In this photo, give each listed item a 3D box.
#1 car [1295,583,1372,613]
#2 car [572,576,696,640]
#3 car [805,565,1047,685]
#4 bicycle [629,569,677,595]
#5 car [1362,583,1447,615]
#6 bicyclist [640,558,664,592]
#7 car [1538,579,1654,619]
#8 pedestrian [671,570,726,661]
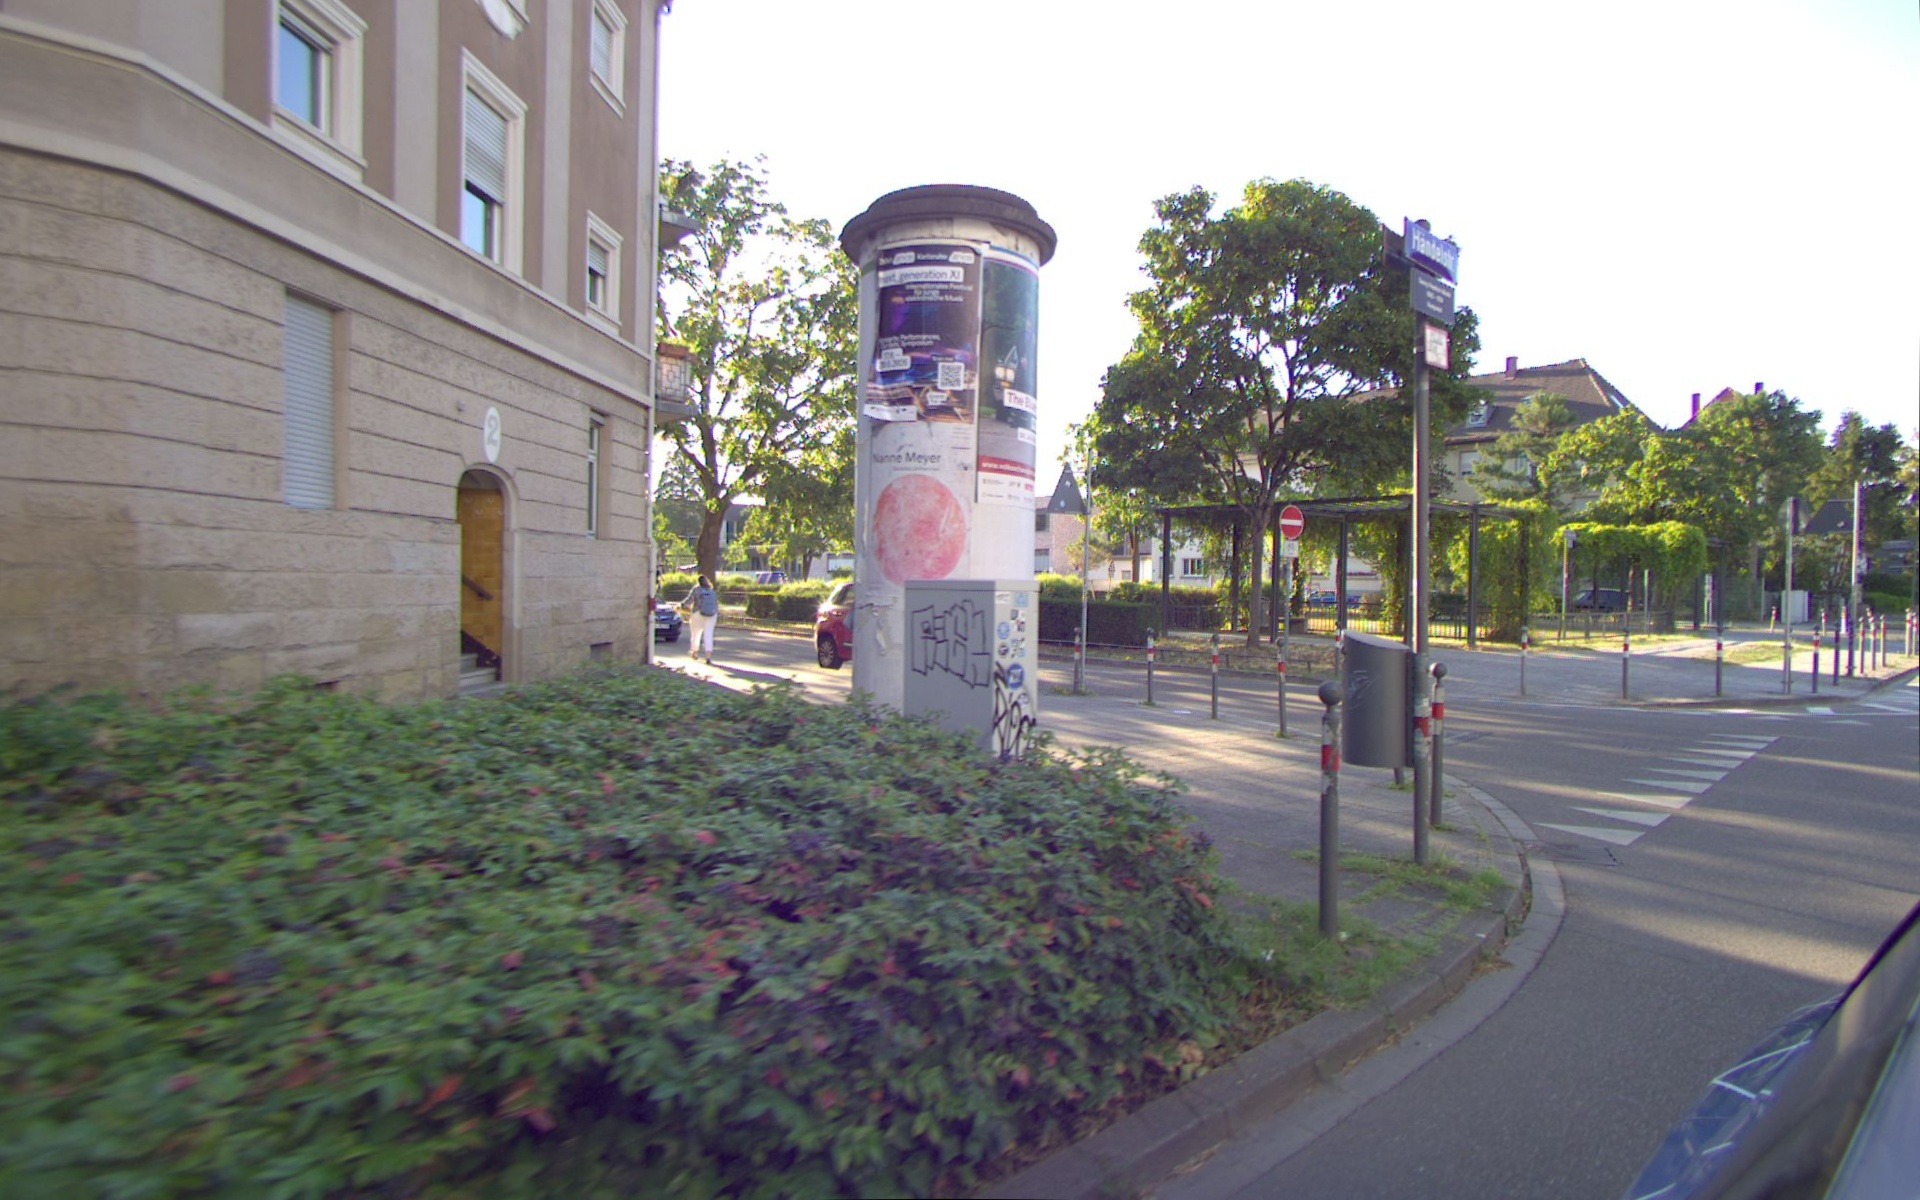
[{"bbox_3d":[20.982,-0.132,56.966,1.703,1.537,3.758,0,1,-37],"label":"car"},{"bbox_3d":[-8.758,0.177,26.991,1.779,1.552,4.084,2,1,-39],"label":"car"},{"bbox_3d":[-0.674,0.343,17.113,1.781,1.763,4.078,3,0,-44],"label":"car"},{"bbox_3d":[-15.228,-0.888,50.168,3.098,1.237,0.874,2,1,43],"label":"bicycle"},{"bbox_3d":[23.513,-0.070,53.637,1.738,1.545,3.772,-1,2,-37],"label":"car"},{"bbox_3d":[-15.289,-1.245,50.242,0.862,1.668,0.848,2,1,43],"label":"bicyclist"},{"bbox_3d":[29.168,-0.062,46.493,1.791,1.662,4.208,3,-1,-42],"label":"car"},{"bbox_3d":[-4.675,0.276,18.130,0.728,1.564,0.821,2,-1,-2],"label":"pedestrian"}]
